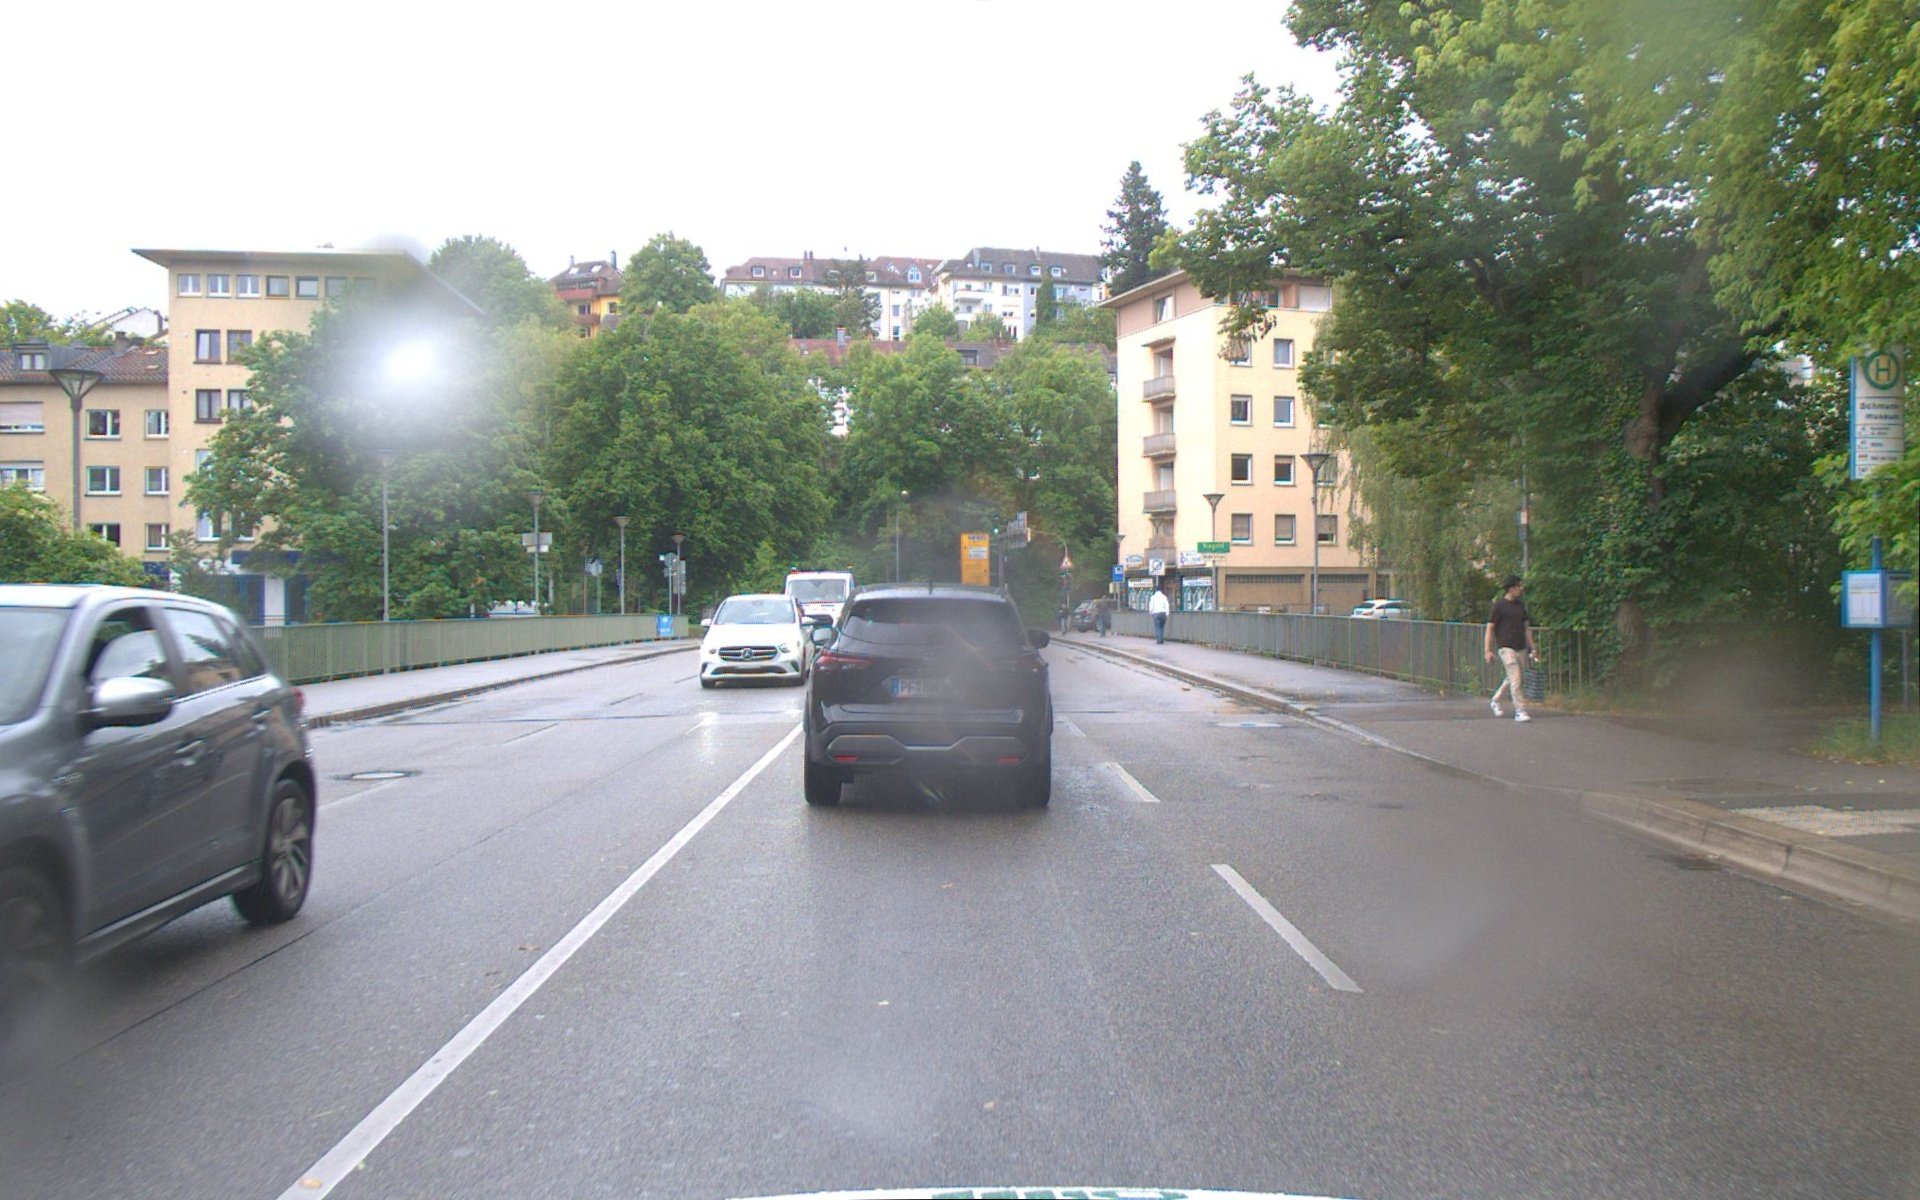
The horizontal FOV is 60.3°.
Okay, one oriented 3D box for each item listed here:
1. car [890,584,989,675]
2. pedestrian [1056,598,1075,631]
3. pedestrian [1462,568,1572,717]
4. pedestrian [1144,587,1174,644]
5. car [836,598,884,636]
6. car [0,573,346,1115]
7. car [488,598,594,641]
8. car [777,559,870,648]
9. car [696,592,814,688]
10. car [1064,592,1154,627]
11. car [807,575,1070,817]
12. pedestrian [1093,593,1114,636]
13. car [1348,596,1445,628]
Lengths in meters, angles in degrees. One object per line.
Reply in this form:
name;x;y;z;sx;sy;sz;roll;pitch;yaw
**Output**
car;-0.397;0.527;31.959;1.774;1.631;3.999;1;0;-1
pedestrian;5.229;0.716;81.781;0.845;1.647;0.839;-2;-1;-1
pedestrian;6.683;0.500;19.898;0.830;1.705;1.167;-2;-1;-1
pedestrian;6.249;0.487;51.998;0.764;1.783;1.060;-1;-1;-1
car;-3.989;0.670;66.344;1.710;1.464;3.999;-1;0;-1
car;-3.879;0.736;6.306;1.778;1.606;4.227;-2;1;-5
car;-19.708;0.905;77.908;4.655;1.886;1.996;0;1;-10
car;-3.877;0.067;48.031;2.243;2.349;6.507;-2;1;-1
car;-3.549;0.646;29.212;1.746;1.499;4.164;-2;1;-3
car;7.783;0.469;86.182;4.314;1.678;1.867;-2;-1;-27
car;-0.175;0.647;13.249;1.774;1.631;3.999;1;0;-1
pedestrian;5.848;0.590;67.384;0.745;1.706;0.781;-2;0;-1
car;21.477;0.586;81.468;4.369;1.400;1.808;-1;2;-18
